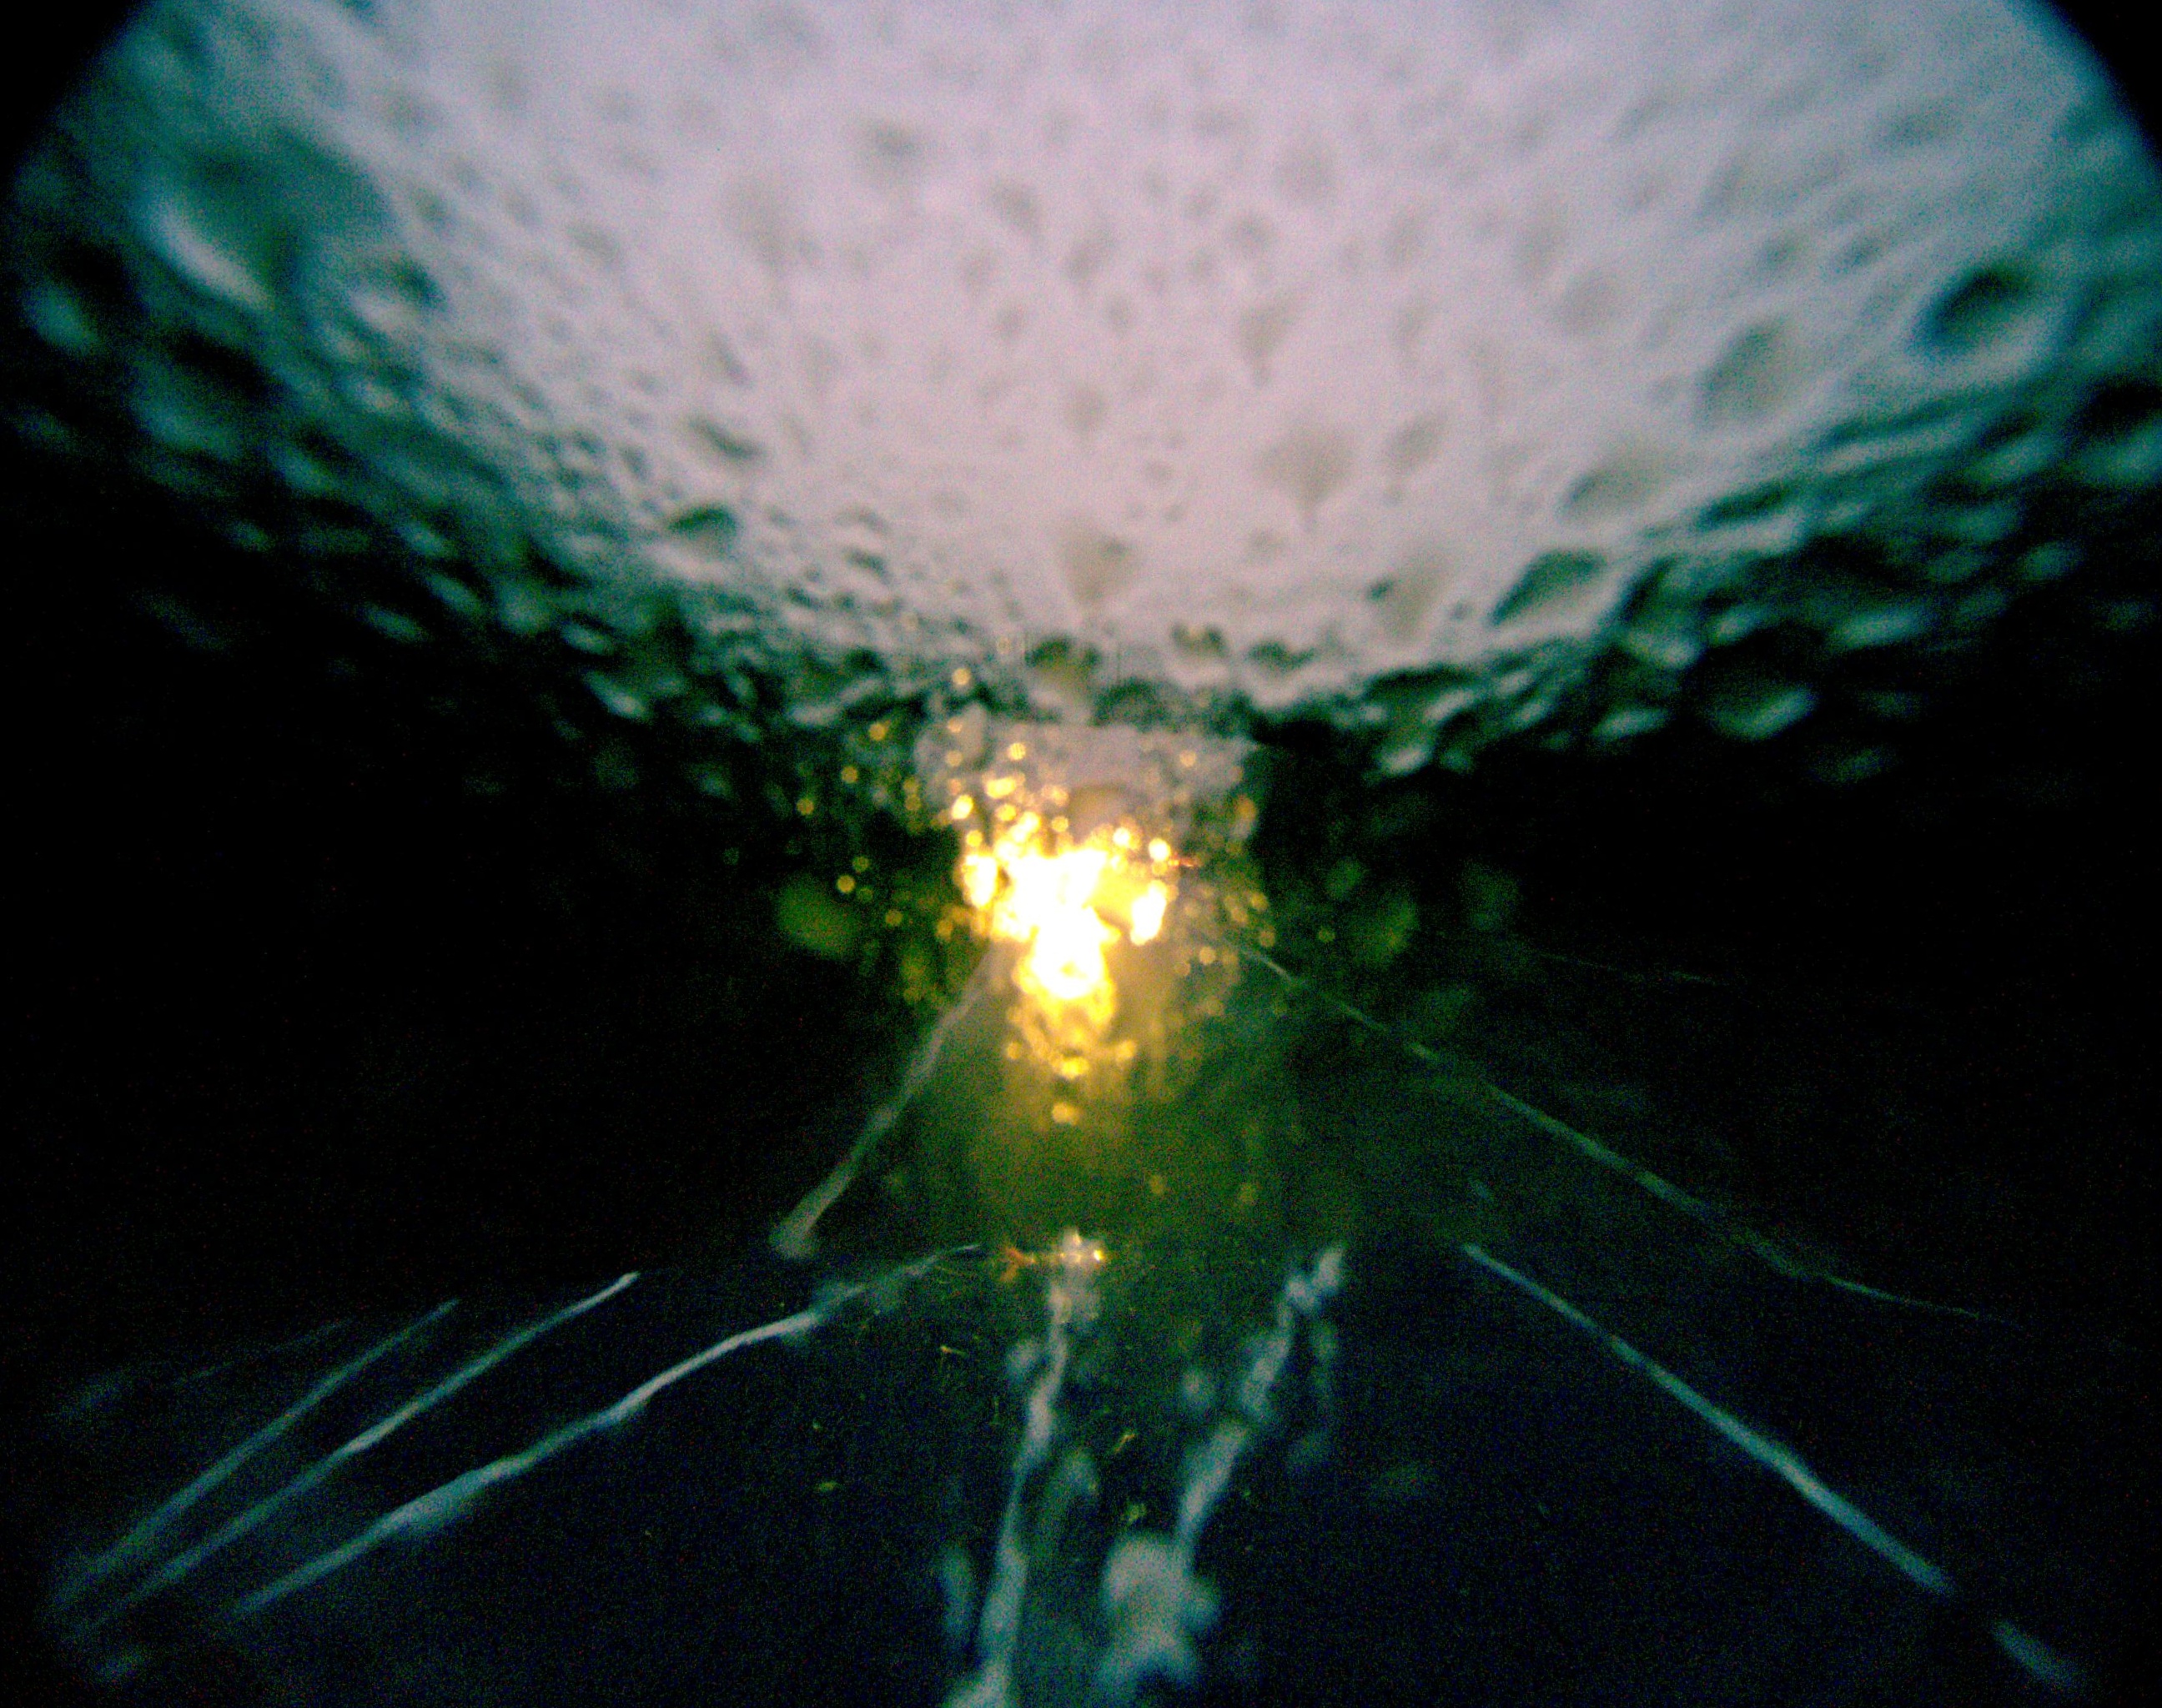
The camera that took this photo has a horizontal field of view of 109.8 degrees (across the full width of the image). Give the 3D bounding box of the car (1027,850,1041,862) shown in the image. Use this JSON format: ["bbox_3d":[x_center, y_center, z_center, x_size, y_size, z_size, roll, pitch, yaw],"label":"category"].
[{"bbox_3d":[-7.262,0.307,116.515,1.718,1.617,4.213,-2,1,-10],"label":"car"}]

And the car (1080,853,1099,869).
[{"bbox_3d":[0.928,0.785,89.142,1.865,1.638,4.465,-2,1,-4],"label":"car"}]

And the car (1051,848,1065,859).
[{"bbox_3d":[-3.653,-0.066,121.700,1.908,1.638,4.725,-2,0,-5],"label":"car"}]

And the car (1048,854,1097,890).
[{"bbox_3d":[-0.462,0.789,35.326,1.851,1.429,4.242,-5,1,-5],"label":"car"}]

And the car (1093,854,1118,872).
[{"bbox_3d":[2.223,0.808,70.766,1.809,1.445,4.376,-2,1,-4],"label":"car"}]

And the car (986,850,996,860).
[{"bbox_3d":[-17.316,0.263,146.624,1.703,1.721,3.995,-2,2,-9],"label":"car"}]

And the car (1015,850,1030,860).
[{"bbox_3d":[-10.101,0.154,131.007,2.012,1.547,4.511,-2,1,-11],"label":"car"}]
